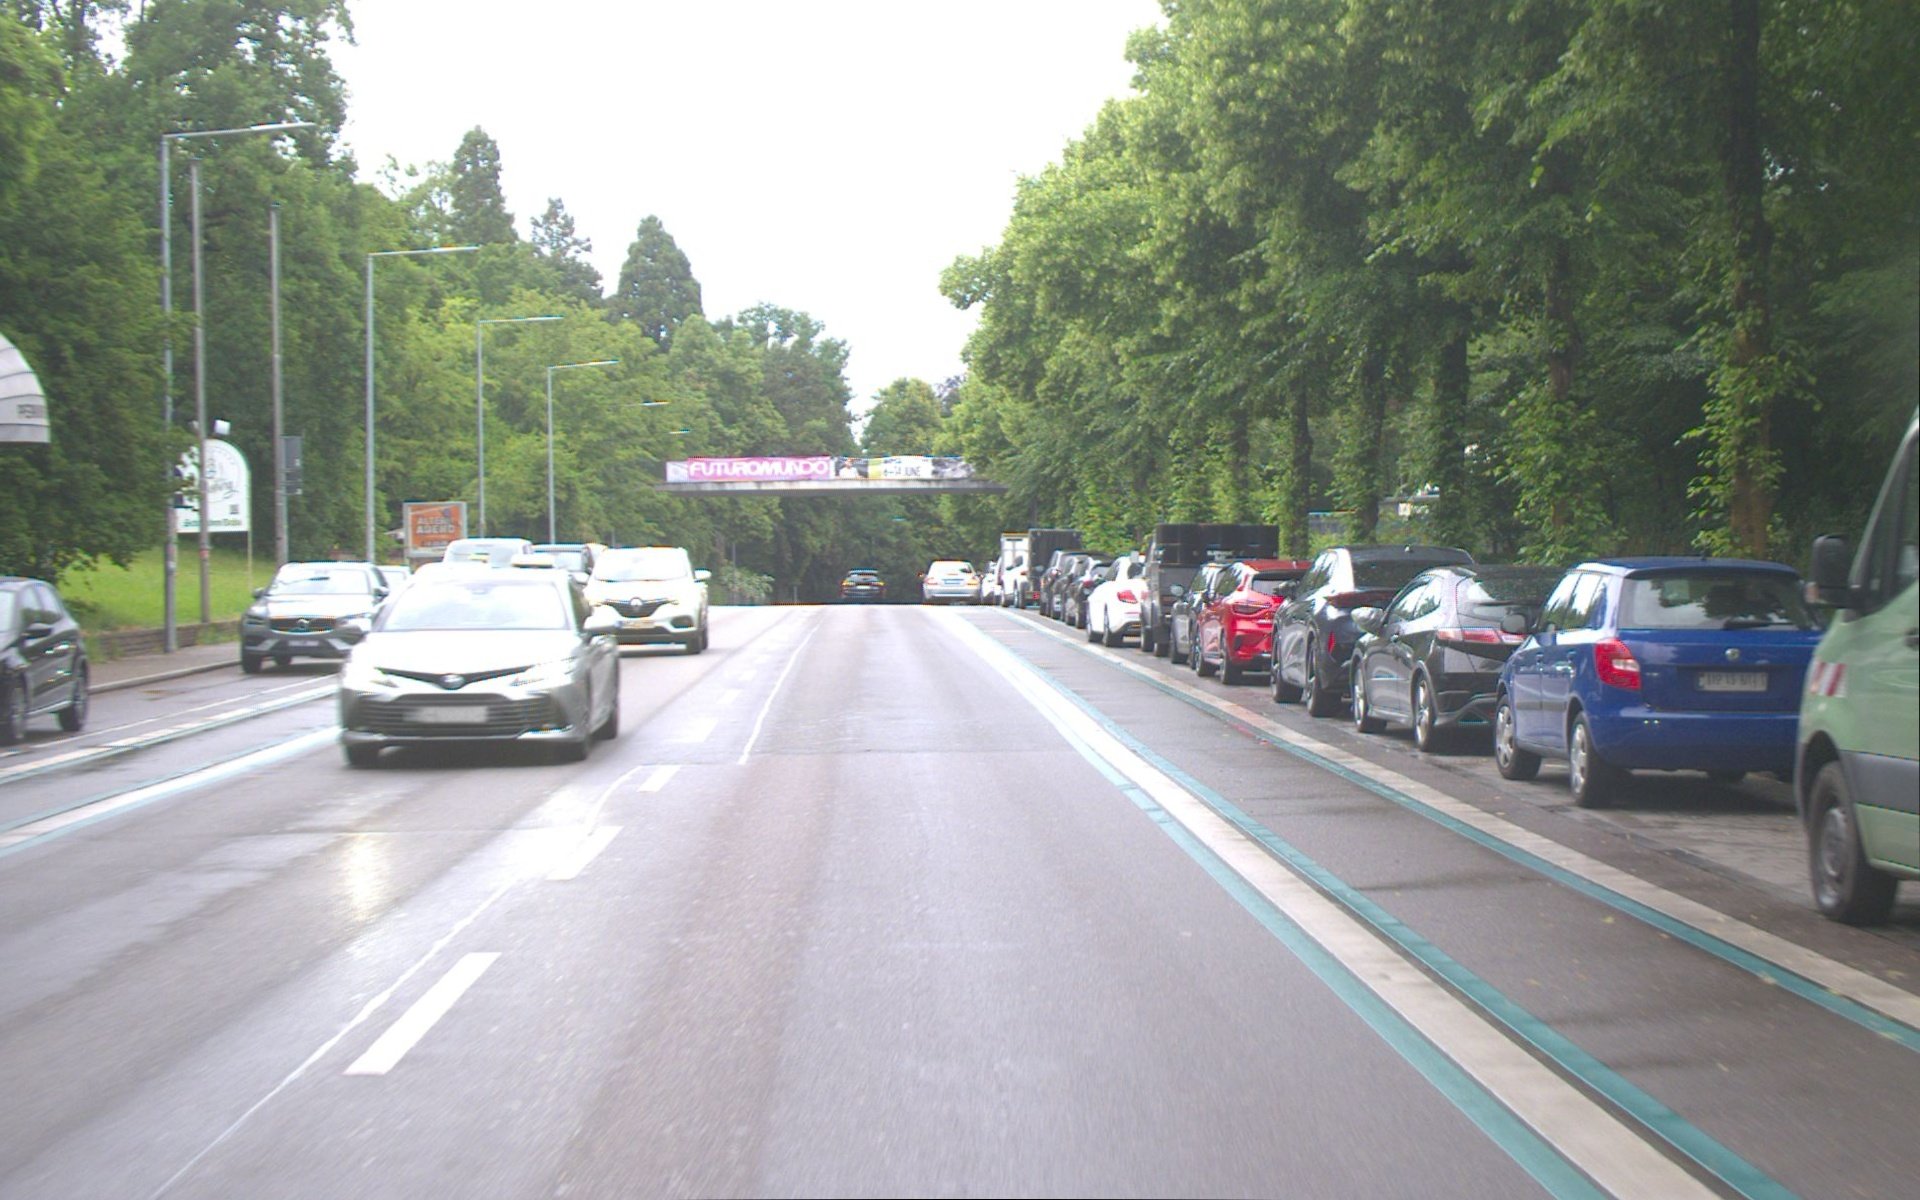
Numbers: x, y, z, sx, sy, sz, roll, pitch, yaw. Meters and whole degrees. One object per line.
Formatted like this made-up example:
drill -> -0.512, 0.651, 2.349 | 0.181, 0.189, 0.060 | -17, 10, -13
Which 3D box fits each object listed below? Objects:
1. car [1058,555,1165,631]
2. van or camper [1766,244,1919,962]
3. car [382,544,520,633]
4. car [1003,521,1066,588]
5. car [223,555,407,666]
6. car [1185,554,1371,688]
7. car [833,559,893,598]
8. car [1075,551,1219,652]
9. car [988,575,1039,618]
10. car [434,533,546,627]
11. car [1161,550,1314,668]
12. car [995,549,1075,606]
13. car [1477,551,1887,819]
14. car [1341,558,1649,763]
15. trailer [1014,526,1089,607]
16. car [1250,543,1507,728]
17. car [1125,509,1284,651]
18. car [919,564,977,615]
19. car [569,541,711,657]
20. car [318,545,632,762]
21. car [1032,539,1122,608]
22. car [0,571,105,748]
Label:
car -> 3.061, -0.164, 70.299 | 1.731, 1.458, 4.278 | 1, 1, -3
van or camper -> 4.695, 0.048, 11.748 | 2.042, 2.720, 6.901 | 1, 1, -1
car -> -9.999, -0.261, 67.855 | 1.990, 1.600, 4.985 | -1, 2, 0
car -> 2.400, -1.476, 111.185 | 1.889, 2.120, 4.045 | 1, 1, 0
car -> -9.089, 0.111, 48.813 | 2.077, 1.477, 4.674 | 0, 1, -4
car -> 3.696, 0.210, 40.574 | 1.686, 1.448, 4.166 | 1, 1, -1
car -> -3.919, -0.865, 138.268 | 2.140, 1.487, 4.499 | 1, 1, -5
car -> 3.006, -0.006, 56.154 | 1.789, 1.537, 4.890 | 1, 1, -3
car -> 1.909, -0.137, 123.228 | 1.731, 1.457, 4.045 | -1, 1, 0
car -> -10.092, -0.462, 74.087 | 1.913, 1.925, 4.929 | 0, 1, -2
car -> 3.626, 0.085, 45.457 | 1.606, 1.448, 3.747 | 1, 1, -1
car -> 2.124, -0.659, 98.525 | 1.730, 1.578, 4.155 | -1, 1, -6
car -> 4.488, 0.468, 21.900 | 1.686, 1.508, 3.835 | 1, 1, -1
car -> 4.175, 0.418, 27.427 | 1.686, 1.451, 4.146 | 1, 1, -1
trailer -> 2.490, -0.937, 94.413 | 1.883, 2.158, 3.808 | -1, 1, -1
car -> 3.896, 0.278, 32.659 | 1.756, 1.584, 4.499 | 1, 1, -1
car -> 3.598, -0.332, 51.274 | 1.926, 2.015, 4.664 | 0, 1, -1
car -> -0.414, -0.354, 111.637 | 1.731, 1.578, 4.037 | -1, 1, -2
car -> -4.818, -0.047, 52.265 | 1.795, 1.646, 4.129 | -2, 1, -1
car -> -3.718, 0.355, 27.107 | 1.921, 1.555, 4.621 | 0, 1, -1
car -> 2.775, -0.645, 82.218 | 1.731, 1.578, 4.155 | 1, 1, -3
car -> -8.940, 0.482, 30.890 | 1.670, 1.452, 3.994 | 0, 1, -2
